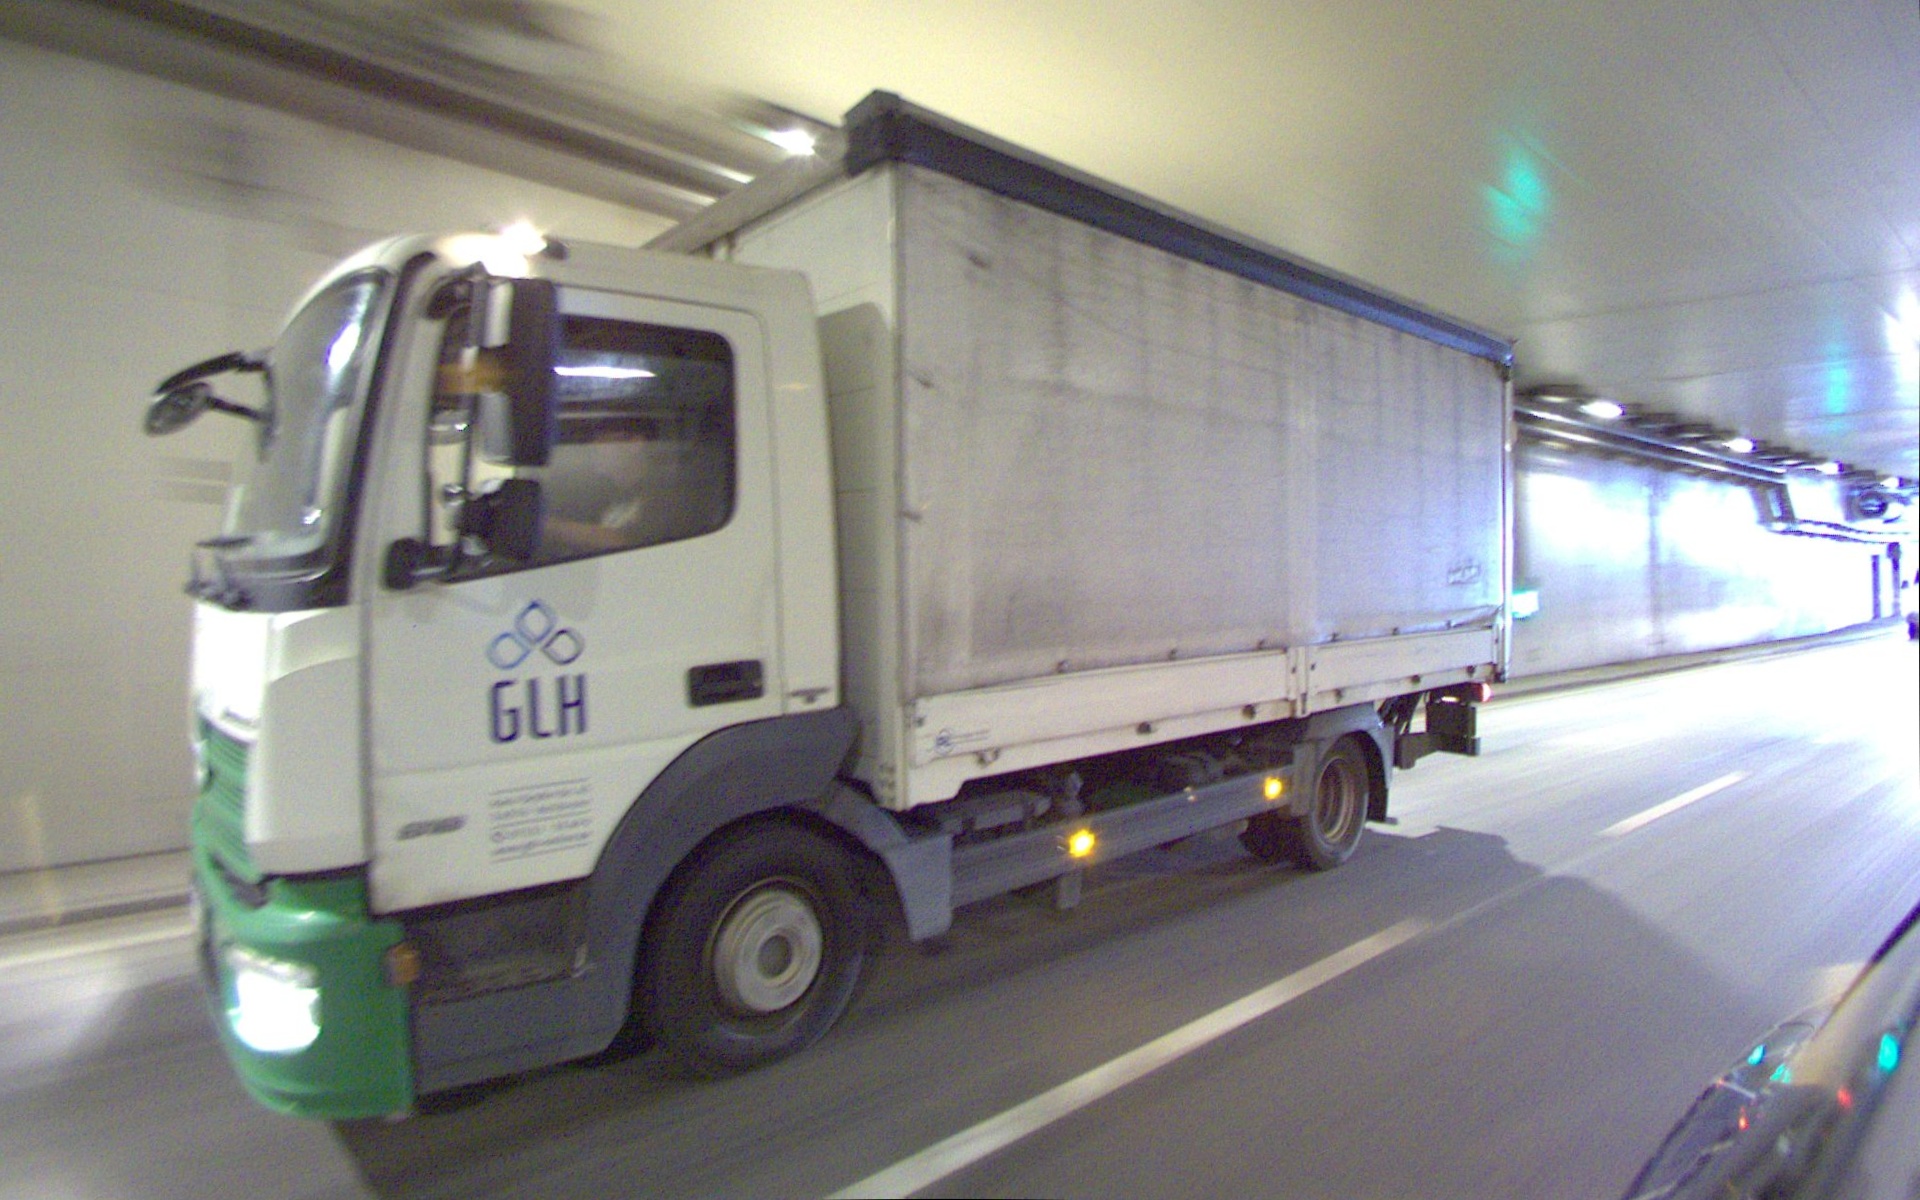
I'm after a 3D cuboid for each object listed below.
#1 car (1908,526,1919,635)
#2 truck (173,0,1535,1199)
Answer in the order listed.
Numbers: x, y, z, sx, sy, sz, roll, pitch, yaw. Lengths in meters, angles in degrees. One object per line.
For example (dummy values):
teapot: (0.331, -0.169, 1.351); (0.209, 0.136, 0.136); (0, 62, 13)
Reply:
car: (28.704, -0.693, 28.363); (6.739, 2.882, 2.106); (-3, 1, -38)
truck: (0.394, -0.182, 5.405); (7.121, 3.221, 2.557); (-1, 0, -42)
